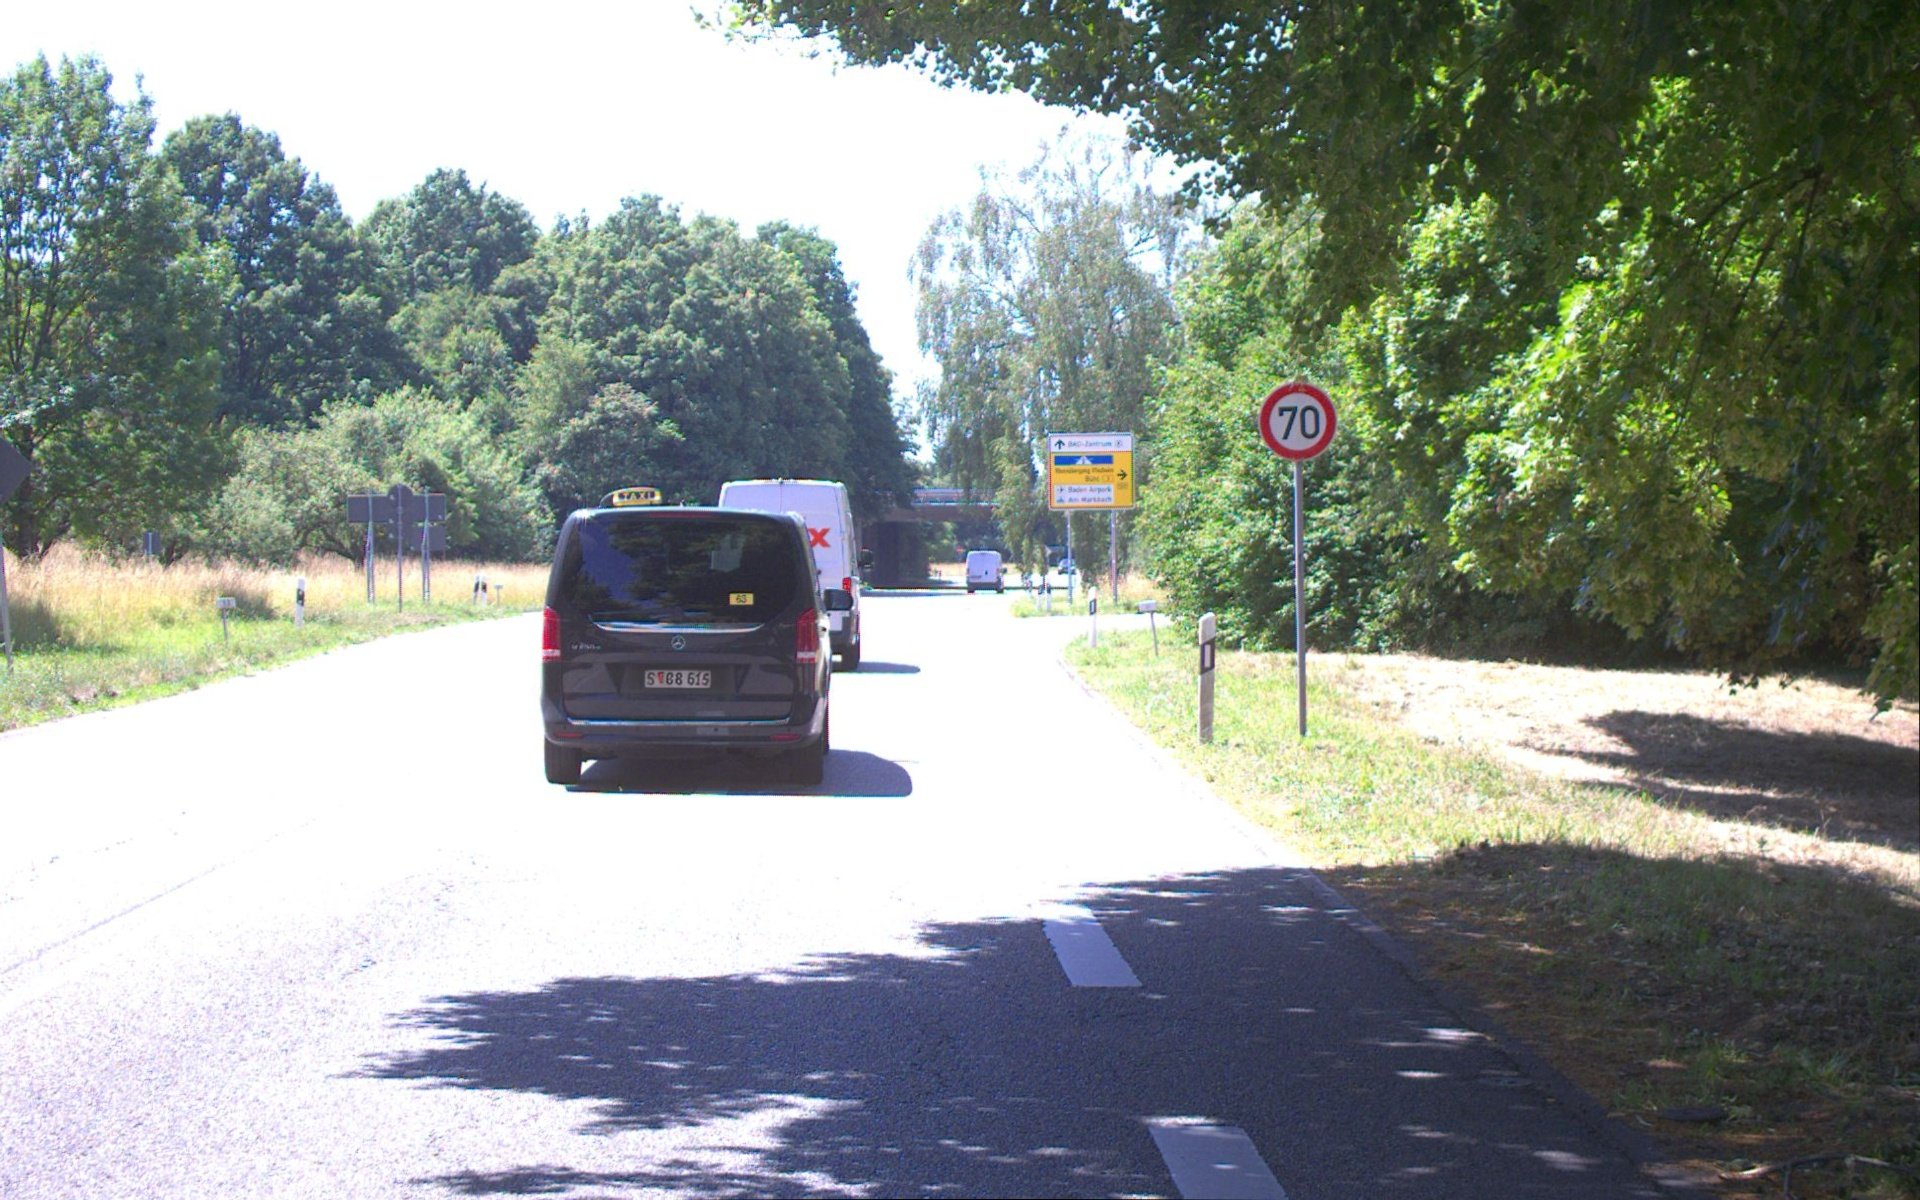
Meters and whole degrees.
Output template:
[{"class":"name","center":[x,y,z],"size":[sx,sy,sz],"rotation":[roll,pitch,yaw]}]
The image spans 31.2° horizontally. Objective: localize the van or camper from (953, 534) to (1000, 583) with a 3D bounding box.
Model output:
[{"class":"van or camper","center":[1.018,-2.525,210.720],"size":[2.631,2.919,5.207],"rotation":[1,0,-2]}]

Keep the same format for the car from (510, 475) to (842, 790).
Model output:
[{"class":"car","center":[-1.894,0.179,24.435],"size":[1.993,1.946,5.005],"rotation":[2,1,-1]}]

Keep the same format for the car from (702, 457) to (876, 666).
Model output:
[{"class":"car","center":[-2.315,-0.532,47.726],"size":[2.078,2.693,4.666],"rotation":[2,1,0]}]
